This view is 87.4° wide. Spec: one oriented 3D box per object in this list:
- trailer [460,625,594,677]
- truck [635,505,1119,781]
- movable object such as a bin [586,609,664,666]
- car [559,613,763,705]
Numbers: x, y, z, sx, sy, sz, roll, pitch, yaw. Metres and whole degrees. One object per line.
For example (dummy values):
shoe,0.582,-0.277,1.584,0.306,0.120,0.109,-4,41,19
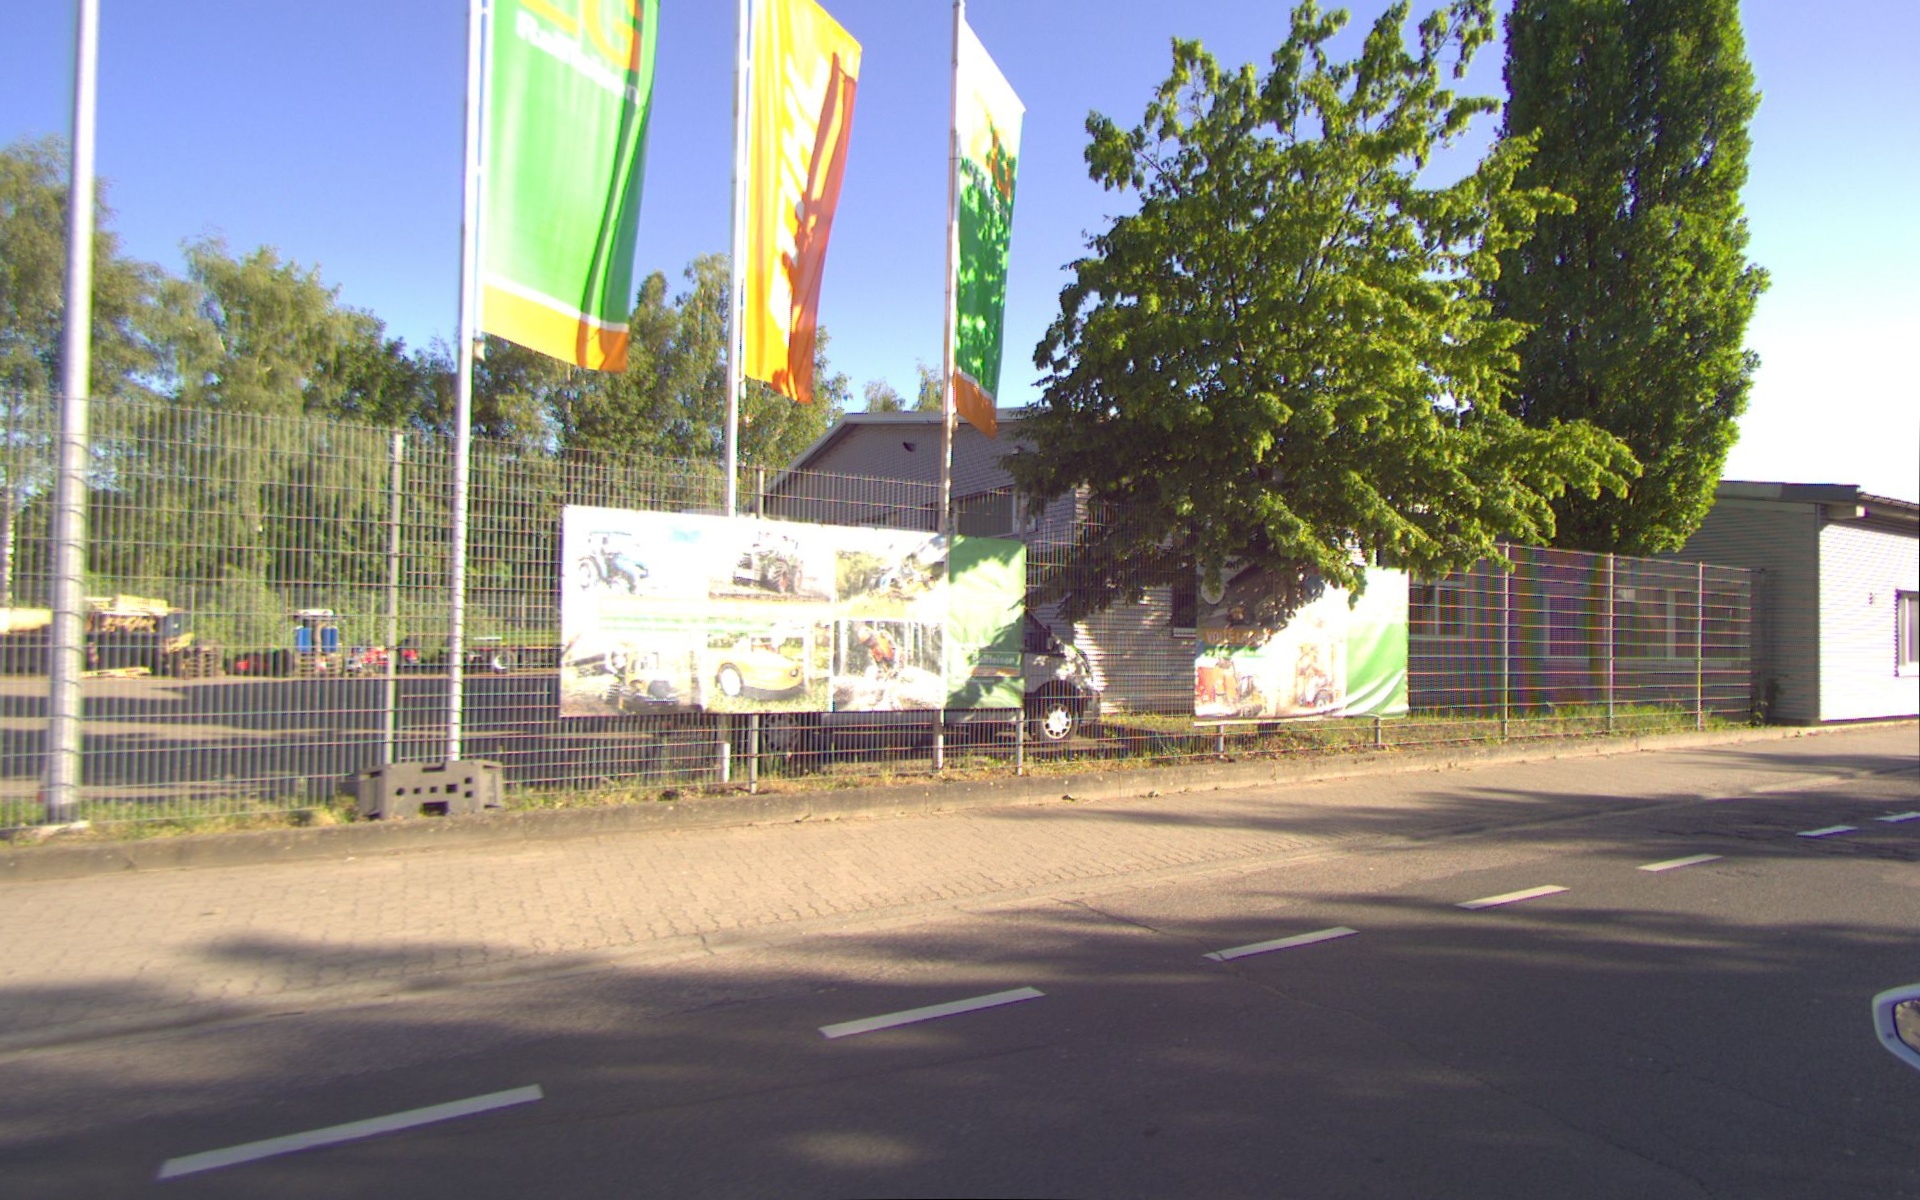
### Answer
trailer,-14.446,1.653,33.558,3.951,1.610,1.985,1,-1,-29
truck,-0.899,0.506,12.524,5.697,2.798,2.069,1,-2,-30
movable object such as a bin,-12.768,1.394,38.105,1.978,2.040,3.966,1,-1,-32
car,-6.531,1.241,22.004,3.953,1.839,1.984,1,-2,-30
